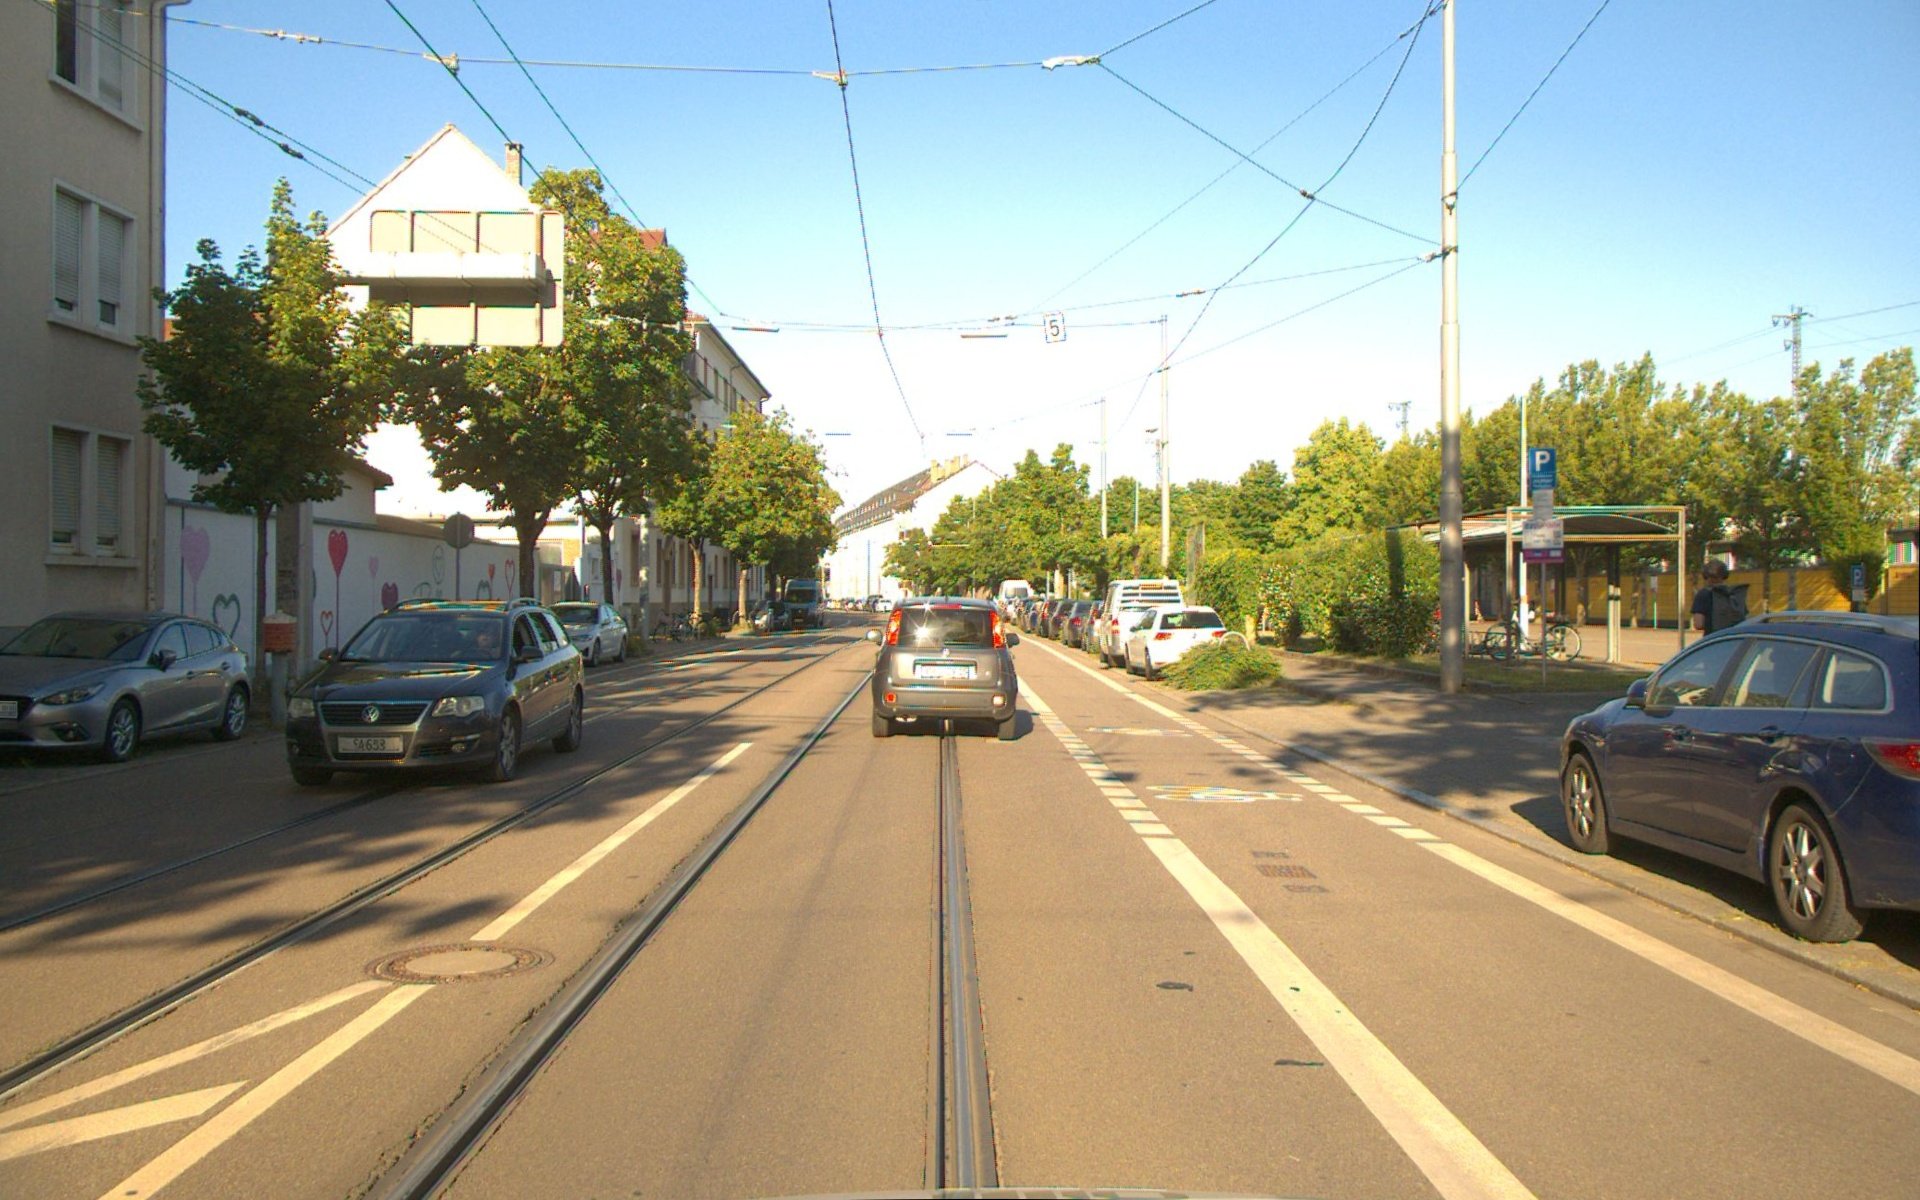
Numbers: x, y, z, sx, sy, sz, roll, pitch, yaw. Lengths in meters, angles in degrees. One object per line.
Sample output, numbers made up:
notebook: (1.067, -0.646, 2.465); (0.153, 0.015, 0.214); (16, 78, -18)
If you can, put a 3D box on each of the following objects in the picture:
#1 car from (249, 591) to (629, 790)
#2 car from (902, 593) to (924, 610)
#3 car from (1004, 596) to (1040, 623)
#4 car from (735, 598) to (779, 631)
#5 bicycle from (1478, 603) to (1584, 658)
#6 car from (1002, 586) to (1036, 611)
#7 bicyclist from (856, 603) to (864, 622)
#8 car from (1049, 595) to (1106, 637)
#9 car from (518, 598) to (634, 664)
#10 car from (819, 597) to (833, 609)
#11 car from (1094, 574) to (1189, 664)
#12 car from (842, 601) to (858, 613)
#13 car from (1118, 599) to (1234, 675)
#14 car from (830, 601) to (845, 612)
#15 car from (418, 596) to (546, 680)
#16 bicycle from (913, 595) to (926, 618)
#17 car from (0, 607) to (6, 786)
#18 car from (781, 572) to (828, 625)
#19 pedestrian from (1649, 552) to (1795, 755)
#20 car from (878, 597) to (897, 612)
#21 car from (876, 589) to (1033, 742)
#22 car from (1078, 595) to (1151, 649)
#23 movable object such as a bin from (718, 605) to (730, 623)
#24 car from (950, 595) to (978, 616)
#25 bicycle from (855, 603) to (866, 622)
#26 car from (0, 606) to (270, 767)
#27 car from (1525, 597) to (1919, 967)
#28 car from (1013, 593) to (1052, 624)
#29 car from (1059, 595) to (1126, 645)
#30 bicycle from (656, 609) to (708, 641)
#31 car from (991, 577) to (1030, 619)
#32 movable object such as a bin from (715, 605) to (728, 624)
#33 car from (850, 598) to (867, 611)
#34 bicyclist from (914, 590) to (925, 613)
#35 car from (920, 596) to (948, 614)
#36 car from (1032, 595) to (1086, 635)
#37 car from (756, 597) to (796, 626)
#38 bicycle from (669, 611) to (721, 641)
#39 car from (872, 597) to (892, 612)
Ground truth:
car: (-4.453, 0.700, 14.992); (1.729, 1.489, 4.749); (-1, 0, 3)
car: (-4.608, 0.120, 162.388); (1.606, 1.534, 3.389); (-3, 0, -10)
car: (3.575, 0.545, 95.879); (1.693, 1.539, 4.249); (1, 0, -3)
car: (-9.751, 0.688, 79.733); (1.617, 1.517, 3.999); (1, 0, 0)
bicycle: (10.981, 0.581, 31.841); (1.856, 1.026, 0.577); (1, 0, 11)
car: (3.728, -0.098, 105.147); (1.872, 1.556, 4.599); (-1, 0, -2)
bicyclist: (-10.853, 1.401, 179.883); (0.702, 2.049, 0.829); (1, -1, -12)
car: (4.327, 0.580, 61.726); (1.787, 1.477, 4.641); (0, 0, 0)
car: (-9.384, 0.731, 40.767); (1.827, 1.516, 4.660); (1, 0, -1)
car: (-19.117, 0.396, 235.296); (1.555, 1.627, 3.367); (1, 0, -11)
car: (4.328, 0.445, 40.063); (1.816, 2.026, 5.242); (0, 0, 1)
car: (-14.022, 0.862, 210.367); (1.555, 1.429, 3.367); (-4, 1, -11)
car: (4.460, 0.738, 34.710); (1.642, 1.442, 4.500); (-2, 0, -2)
car: (-16.394, 0.883, 221.358); (1.555, 1.430, 3.367); (1, 0, -11)
car: (-9.330, 0.711, 32.565); (1.739, 1.512, 4.298); (1, 0, -7)
bicycle: (-3.115, 0.511, 127.323); (0.663, 1.777, 2.151); (1, 0, -11)
car: (-8.963, 0.806, 12.191); (1.540, 1.531, 3.999); (1, 0, 0)
car: (-8.781, -0.090, 93.864); (1.976, 2.875, 6.032); (1, 0, 0)
pedestrian: (7.269, 0.493, 15.846); (0.657, 1.820, 1.304); (-4, 0, -1)
car: (-7.907, 0.522, 180.463); (1.626, 1.599, 3.489); (1, 0, -11)
car: (-0.089, 0.694, 19.458); (1.616, 1.568, 4.234); (1, 0, -1)
car: (4.472, 0.622, 48.489); (1.834, 1.498, 4.076); (1, 0, 1)
movable object such as a bin: (-12.222, 0.732, 85.589); (0.584, 0.951, 0.568); (-1, 0, -3)
car: (0.309, 0.412, 130.749); (1.657, 1.557, 3.993); (-2, 0, -7)
bicycle: (-10.817, 1.355, 179.775); (0.728, 2.049, 2.804); (1, 0, -11)
car: (-9.103, 0.810, 17.453); (1.835, 1.454, 4.292); (1, 0, -1)
car: (4.707, 0.744, 8.921); (1.668, 1.507, 4.657); (0, 0, -1)
car: (3.968, 0.451, 91.110); (1.693, 1.632, 4.339); (1, 0, -3)
car: (4.213, 0.628, 53.273); (1.787, 1.510, 4.601); (1, 0, 0)
bicycle: (-9.430, 0.840, 56.238); (0.656, 1.058, 1.779); (1, -1, 36)
car: (3.352, -0.134, 111.795); (2.136, 2.712, 6.088); (-2, 0, -2)
movable object such as a bin: (-12.261, 0.728, 84.993); (0.584, 0.951, 0.568); (-1, 0, -3)
car: (-12.273, 0.575, 200.551); (1.626, 1.526, 3.121); (1, 0, -11)
bicyclist: (-3.138, 0.099, 127.305); (0.687, 1.790, 0.755); (1, -1, -12)
car: (-2.323, 0.459, 147.362); (1.660, 1.557, 3.987); (-2, 0, -13)
car: (4.047, 0.605, 67.854); (1.788, 1.519, 3.813); (-2, 0, -2)
car: (-9.547, 0.589, 86.122); (1.617, 1.450, 4.189); (1, 0, 0)
bicycle: (-9.589, 0.940, 59.902); (0.523, 1.058, 1.974); (0, -1, 43)
car: (-8.709, 0.514, 184.691); (1.626, 1.599, 3.865); (1, 0, -11)
